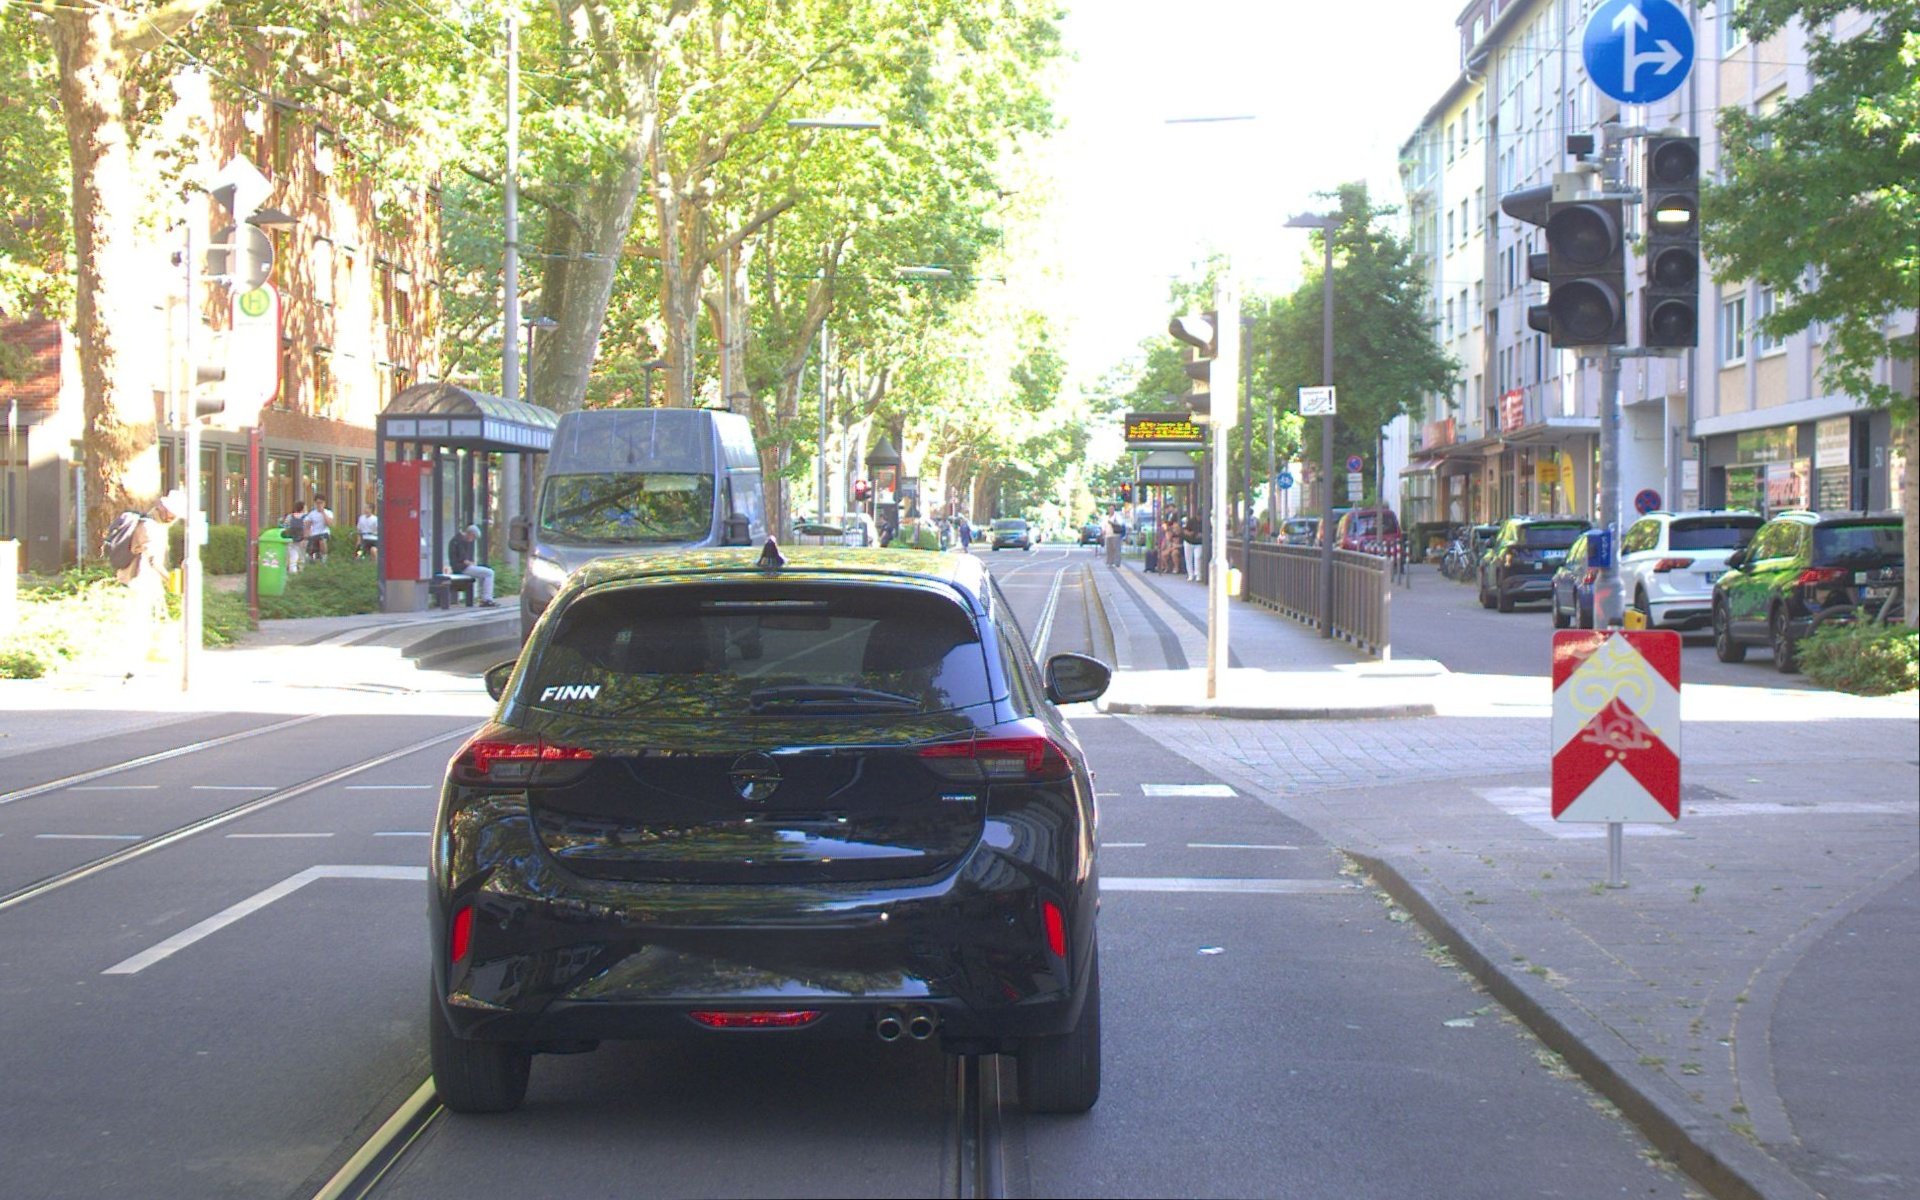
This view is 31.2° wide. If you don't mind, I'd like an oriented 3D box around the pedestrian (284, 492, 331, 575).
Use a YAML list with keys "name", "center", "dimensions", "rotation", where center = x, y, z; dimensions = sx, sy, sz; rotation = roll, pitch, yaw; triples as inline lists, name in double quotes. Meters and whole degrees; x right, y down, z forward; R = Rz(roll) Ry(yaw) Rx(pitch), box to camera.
- name: "pedestrian"
  center: [-13.416, -1.368, 70.718]
  dimensions: [0.735, 1.666, 0.861]
  rotation: [1, 1, 2]

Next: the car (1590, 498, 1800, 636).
- name: "car"
  center: [9.152, -0.431, 43.124]
  dimensions: [1.799, 1.600, 4.415]
  rotation: [1, 1, 2]

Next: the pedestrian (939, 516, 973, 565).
- name: "pedestrian"
  center: [-0.137, -2.169, 125.841]
  dimensions: [1.163, 1.742, 0.958]
  rotation: [1, 1, -3]

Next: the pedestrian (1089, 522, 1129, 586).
- name: "pedestrian"
  center: [4.004, -1.243, 92.356]
  dimensions: [0.751, 1.703, 0.761]
  rotation: [2, 1, 37]

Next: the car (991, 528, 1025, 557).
- name: "car"
  center: [2.575, -3.107, 185.871]
  dimensions: [1.745, 1.539, 4.000]
  rotation: [1, 1, 0]

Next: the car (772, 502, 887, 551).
- name: "car"
  center: [-5.158, -2.894, 135.434]
  dimensions: [4.384, 1.845, 2.000]
  rotation: [1, 1, -5]

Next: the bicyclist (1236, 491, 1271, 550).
- name: "bicyclist"
  center: [8.892, -2.395, 104.144]
  dimensions: [0.861, 1.753, 1.054]
  rotation: [1, 1, -4]

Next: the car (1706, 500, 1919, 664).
- name: "car"
  center: [9.207, -0.214, 35.960]
  dimensions: [1.993, 1.610, 4.445]
  rotation: [0, 1, 2]

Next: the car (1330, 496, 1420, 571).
- name: "car"
  center: [11.259, -1.805, 93.475]
  dimensions: [1.993, 1.946, 4.000]
  rotation: [1, 1, 1]

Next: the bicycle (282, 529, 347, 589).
- name: "bicycle"
  center: [-12.299, -0.784, 65.565]
  dimensions: [0.782, 1.107, 2.596]
  rotation: [1, 1, -1]

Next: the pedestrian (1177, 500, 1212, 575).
- name: "pedestrian"
  center: [4.993, -1.339, 73.292]
  dimensions: [0.631, 1.571, 0.870]
  rotation: [3, 2, 2]

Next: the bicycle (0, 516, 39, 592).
- name: "bicycle"
  center: [-16.381, -0.797, 56.111]
  dimensions: [2.458, 1.215, 0.682]
  rotation: [3, 1, 3]

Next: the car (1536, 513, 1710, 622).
- name: "car"
  center: [9.324, -0.468, 48.647]
  dimensions: [1.744, 1.435, 4.247]
  rotation: [1, 1, 2]

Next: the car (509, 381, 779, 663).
- name: "car"
  center: [-3.245, -0.807, 36.635]
  dimensions: [2.114, 2.728, 6.115]
  rotation: [0, 1, 2]

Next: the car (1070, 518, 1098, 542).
- name: "car"
  center: [8.214, -4.660, 227.761]
  dimensions: [1.745, 1.539, 4.000]
  rotation: [1, 1, 0]

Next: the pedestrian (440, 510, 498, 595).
- name: "pedestrian"
  center: [-6.801, -0.661, 47.680]
  dimensions: [0.705, 1.164, 0.659]
  rotation: [-1, 1, -1]

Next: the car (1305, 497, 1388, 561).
- name: "car"
  center: [11.239, -2.050, 100.129]
  dimensions: [1.993, 1.791, 4.000]
  rotation: [1, 1, 1]

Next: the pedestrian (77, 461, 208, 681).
- name: "pedestrian"
  center: [-7.054, -0.265, 29.697]
  dimensions: [0.924, 1.829, 0.920]
  rotation: [1, 3, -2]

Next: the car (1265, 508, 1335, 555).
- name: "car"
  center: [11.091, -2.232, 112.381]
  dimensions: [1.993, 1.481, 4.000]
  rotation: [1, 1, 2]

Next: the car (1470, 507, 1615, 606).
- name: "car"
  center: [9.970, -0.755, 59.090]
  dimensions: [1.857, 1.610, 4.397]
  rotation: [1, 1, 2]

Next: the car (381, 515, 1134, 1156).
- name: "car"
  center: [-0.480, 0.522, 9.891]
  dimensions: [1.760, 1.503, 3.683]
  rotation: [0, 1, 0]

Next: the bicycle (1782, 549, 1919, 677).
- name: "bicycle"
  center: [8.961, 0.126, 32.747]
  dimensions: [2.127, 1.183, 0.681]
  rotation: [1, 1, 10]

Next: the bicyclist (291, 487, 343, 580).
- name: "bicyclist"
  center: [-12.273, -1.276, 65.669]
  dimensions: [0.774, 1.744, 0.997]
  rotation: [1, 1, 0]

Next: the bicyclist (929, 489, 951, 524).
- name: "bicyclist"
  center: [-0.967, -4.549, 167.769]
  dimensions: [0.941, 1.697, 1.153]
  rotation: [1, 1, 5]

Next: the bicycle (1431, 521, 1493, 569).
- name: "bicycle"
  center: [12.248, -1.355, 83.926]
  dimensions: [0.611, 1.132, 2.922]
  rotation: [1, 1, -9]

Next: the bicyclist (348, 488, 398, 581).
- name: "bicyclist"
  center: [-11.243, -1.255, 65.872]
  dimensions: [0.782, 1.757, 0.951]
  rotation: [1, 1, -1]

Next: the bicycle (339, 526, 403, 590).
- name: "bicycle"
  center: [-11.267, -0.810, 65.841]
  dimensions: [0.782, 1.187, 2.596]
  rotation: [1, 1, -1]

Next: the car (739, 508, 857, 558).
- name: "car"
  center: [-5.845, -2.423, 123.682]
  dimensions: [4.113, 1.695, 1.884]
  rotation: [1, 1, -5]

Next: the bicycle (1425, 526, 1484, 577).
- name: "bicycle"
  center: [11.372, -1.124, 79.186]
  dimensions: [0.621, 1.132, 2.440]
  rotation: [1, 1, -9]

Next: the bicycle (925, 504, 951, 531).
- name: "bicycle"
  center: [-1.059, -3.997, 166.868]
  dimensions: [0.955, 1.236, 2.977]
  rotation: [1, 1, 5]

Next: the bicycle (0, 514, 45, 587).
- name: "bicycle"
  center: [-16.333, -0.846, 56.547]
  dimensions: [2.340, 1.162, 0.682]
  rotation: [2, 1, 3]

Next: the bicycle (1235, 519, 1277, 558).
- name: "bicycle"
  center: [8.918, -1.863, 103.673]
  dimensions: [0.861, 1.132, 2.396]
  rotation: [1, 1, -4]

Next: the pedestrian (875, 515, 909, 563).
- name: "pedestrian"
  center: [-2.511, -2.233, 126.514]
  dimensions: [1.163, 1.742, 0.958]
  rotation: [1, 1, -3]
